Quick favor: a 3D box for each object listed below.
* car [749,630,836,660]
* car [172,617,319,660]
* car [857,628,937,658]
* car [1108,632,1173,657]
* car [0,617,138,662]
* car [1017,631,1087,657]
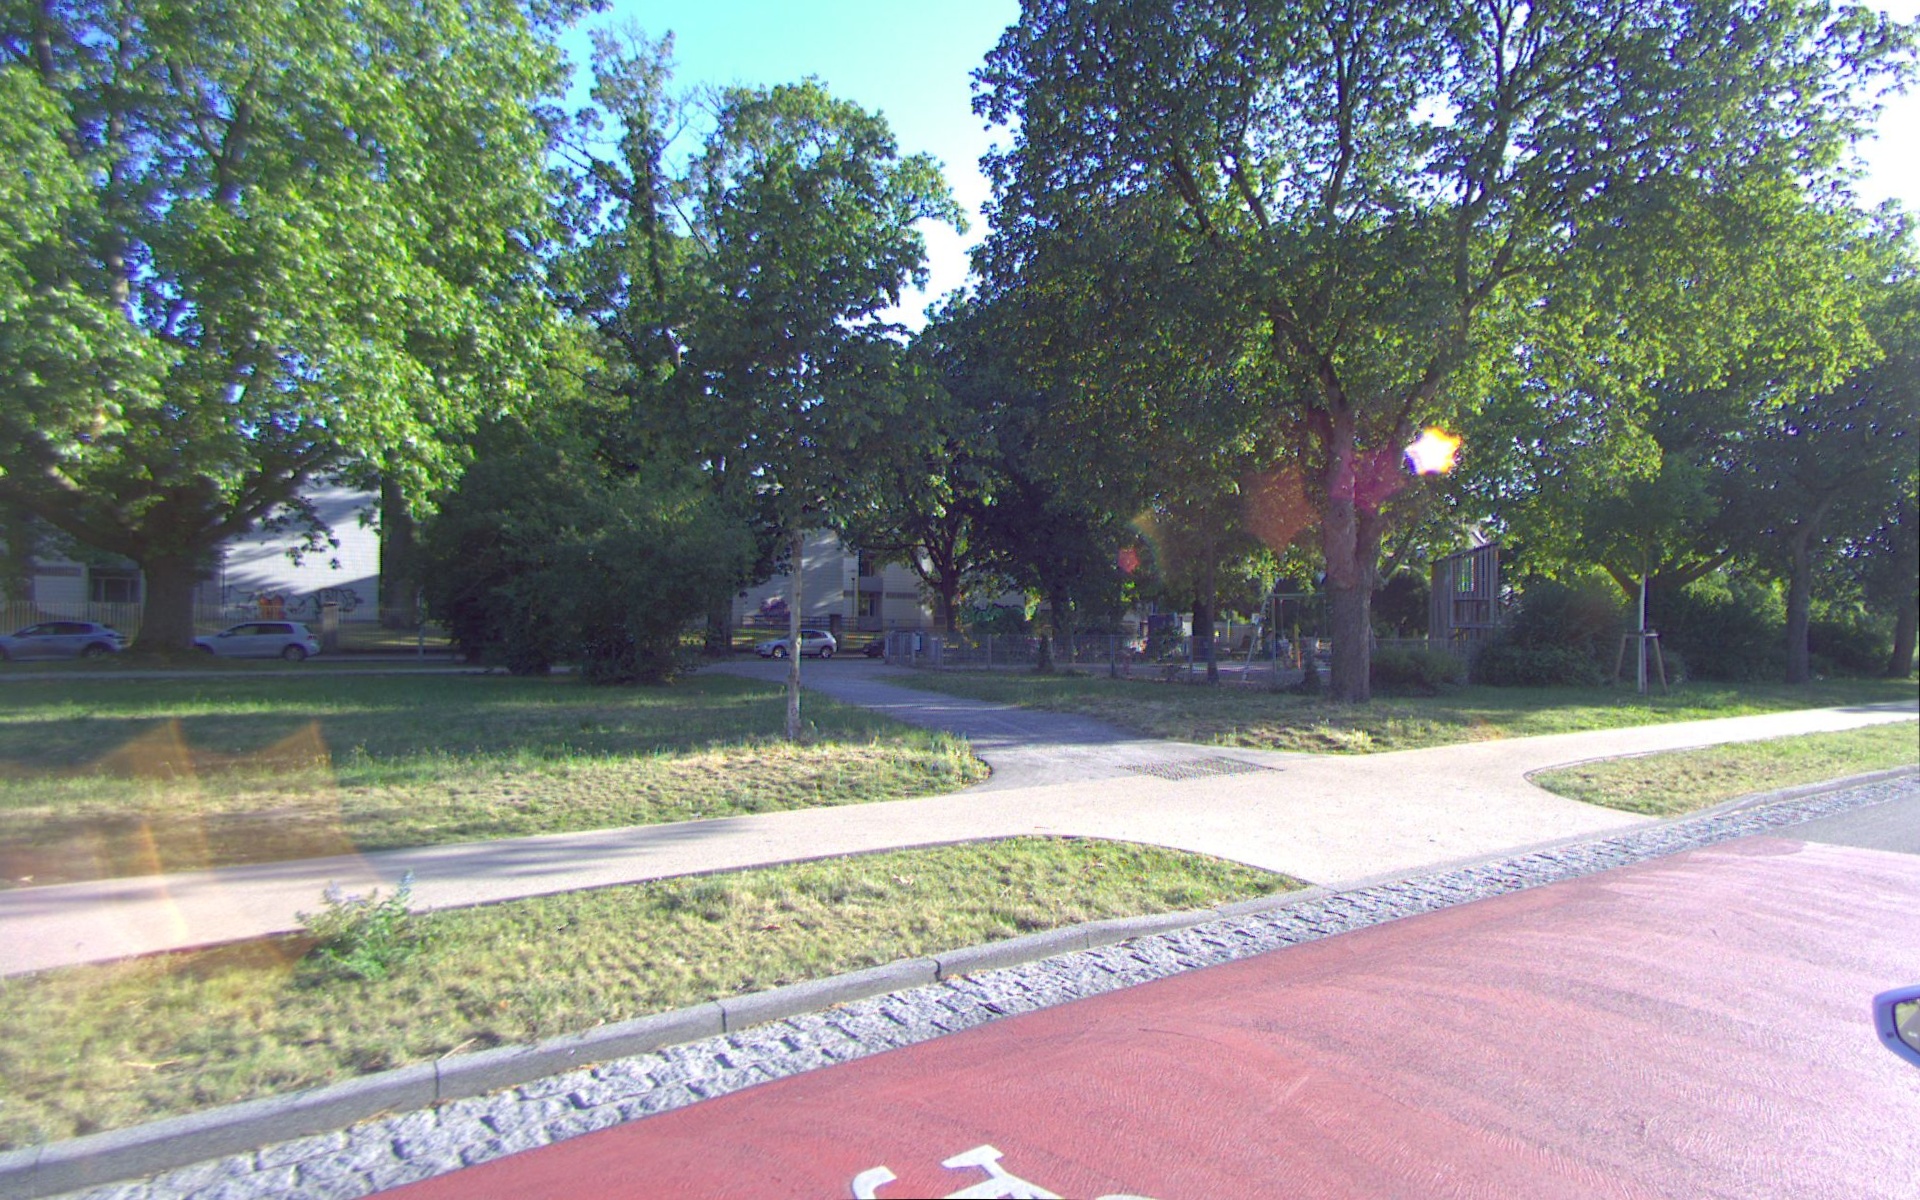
[{"bbox_3d":[-7.792,2.083,46.863,3.712,1.309,1.513,2,-1,-33],"label":"car"},{"bbox_3d":[-24.728,1.340,34.917,4.066,1.386,1.512,2,-1,-35],"label":"car"},{"bbox_3d":[-3.123,2.141,49.971,3.712,1.386,1.513,2,-1,-33],"label":"car"},{"bbox_3d":[10.558,2.604,58.643,3.712,1.386,1.513,2,-1,-33],"label":"car"},{"bbox_3d":[-28.932,1.261,32.244,3.754,1.386,1.512,2,-1,-35],"label":"car"},{"bbox_3d":[5.093,2.418,55.390,3.712,1.386,1.513,2,-1,-33],"label":"car"}]
